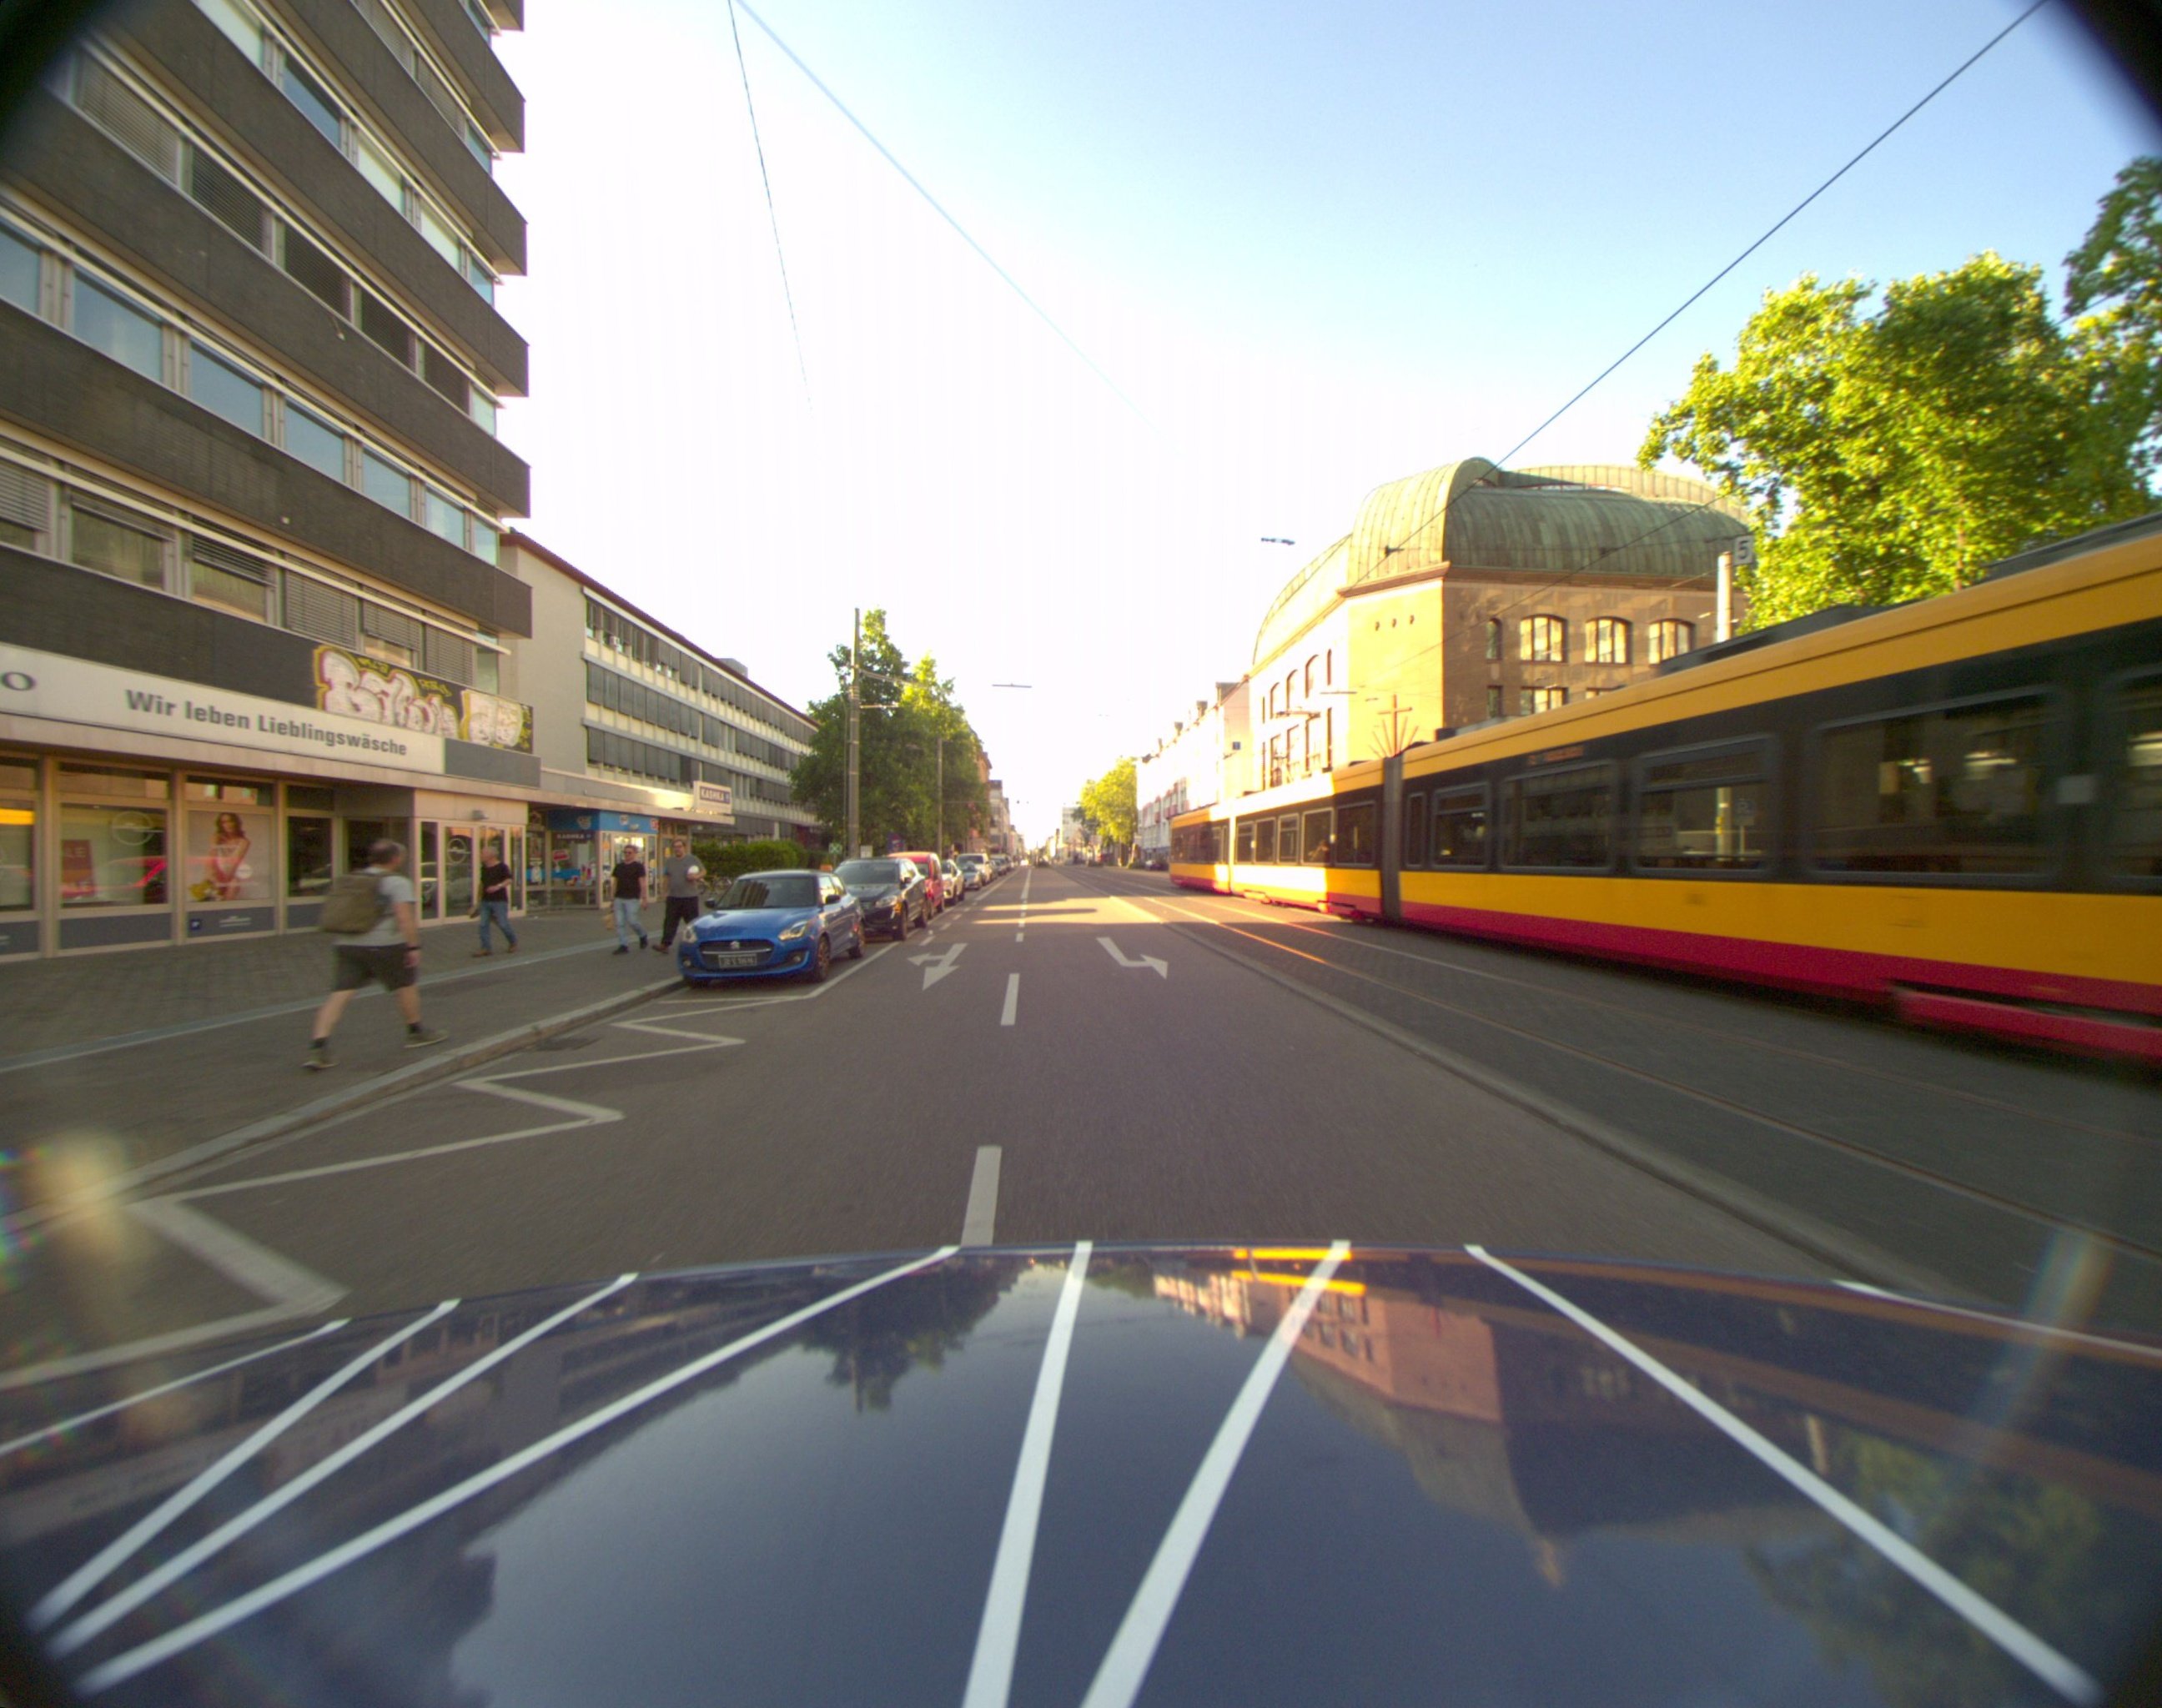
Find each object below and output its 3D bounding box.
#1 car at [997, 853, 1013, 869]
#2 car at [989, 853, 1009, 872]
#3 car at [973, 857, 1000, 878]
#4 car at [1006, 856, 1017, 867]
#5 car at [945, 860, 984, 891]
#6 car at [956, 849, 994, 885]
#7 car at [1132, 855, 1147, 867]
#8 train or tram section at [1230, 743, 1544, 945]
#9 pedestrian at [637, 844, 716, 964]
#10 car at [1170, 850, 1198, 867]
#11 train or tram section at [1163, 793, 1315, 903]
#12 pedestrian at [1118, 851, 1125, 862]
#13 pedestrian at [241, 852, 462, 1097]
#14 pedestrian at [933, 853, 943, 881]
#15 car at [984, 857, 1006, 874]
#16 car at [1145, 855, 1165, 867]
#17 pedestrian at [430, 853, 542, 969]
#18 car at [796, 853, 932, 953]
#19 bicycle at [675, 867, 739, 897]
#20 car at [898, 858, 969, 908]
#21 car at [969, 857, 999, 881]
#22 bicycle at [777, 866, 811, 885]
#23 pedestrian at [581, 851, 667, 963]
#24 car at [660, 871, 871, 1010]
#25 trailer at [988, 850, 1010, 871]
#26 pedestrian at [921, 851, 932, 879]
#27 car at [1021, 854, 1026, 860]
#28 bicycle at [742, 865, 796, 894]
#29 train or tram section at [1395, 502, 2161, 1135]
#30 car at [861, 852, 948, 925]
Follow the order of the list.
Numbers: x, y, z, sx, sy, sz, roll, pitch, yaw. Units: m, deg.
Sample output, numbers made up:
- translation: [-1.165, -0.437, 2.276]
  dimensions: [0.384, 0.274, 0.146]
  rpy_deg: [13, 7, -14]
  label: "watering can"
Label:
- translation: [-9.080, 0.843, 91.120]
  dimensions: [1.697, 1.832, 4.693]
  rpy_deg: [-1, 0, -4]
  label: "car"
- translation: [-8.071, 0.835, 75.458]
  dimensions: [1.784, 1.735, 4.473]
  rpy_deg: [-1, 0, -4]
  label: "car"
- translation: [-6.982, 0.996, 56.682]
  dimensions: [1.597, 1.485, 3.901]
  rpy_deg: [-1, 0, -2]
  label: "car"
- translation: [-9.374, 1.035, 102.942]
  dimensions: [1.420, 1.425, 3.871]
  rpy_deg: [-1, 0, -4]
  label: "car"
- translation: [-5.946, 1.069, 39.272]
  dimensions: [1.679, 1.396, 4.165]
  rpy_deg: [-2, 1, -5]
  label: "car"
- translation: [-6.349, 0.757, 45.983]
  dimensions: [1.882, 2.009, 4.903]
  rpy_deg: [-1, 0, -3]
  label: "car"
- translation: [8.875, 0.993, 115.202]
  dimensions: [1.931, 1.787, 4.383]
  rpy_deg: [0, 0, 0]
  label: "car"
- translation: [6.485, -0.190, 18.913]
  dimensions: [2.683, 3.530, 11.122]
  rpy_deg: [0, 0, -4]
  label: "train or tram section"
- translation: [-6.630, 0.786, 12.506]
  dimensions: [0.796, 1.888, 1.032]
  rpy_deg: [0, 0, -4]
  label: "pedestrian"
- translation: [10.850, 0.421, 80.252]
  dimensions: [1.965, 1.690, 4.558]
  rpy_deg: [-1, 0, -5]
  label: "car"
- translation: [5.764, -0.228, 30.703]
  dimensions: [2.766, 3.530, 12.462]
  rpy_deg: [0, 0, -4]
  label: "train or tram section"
- translation: [6.987, 0.456, 131.986]
  dimensions: [1.096, 1.768, 1.253]
  rpy_deg: [1, 0, 1]
  label: "pedestrian"
- translation: [-5.525, 0.850, 5.833]
  dimensions: [0.789, 1.727, 0.945]
  rpy_deg: [0, 0, -4]
  label: "pedestrian"
- translation: [-8.839, 0.822, 46.849]
  dimensions: [0.494, 1.703, 0.437]
  rpy_deg: [2, 0, -4]
  label: "pedestrian"
- translation: [-7.822, 1.027, 69.389]
  dimensions: [1.784, 1.420, 4.211]
  rpy_deg: [-1, 0, -4]
  label: "car"
- translation: [9.676, 0.902, 99.405]
  dimensions: [1.829, 1.500, 4.559]
  rpy_deg: [-1, 0, -3]
  label: "car"
- translation: [-9.260, 0.851, 11.869]
  dimensions: [0.903, 1.703, 1.032]
  rpy_deg: [2, 0, -4]
  label: "pedestrian"
- translation: [-4.396, 0.890, 16.116]
  dimensions: [1.825, 1.747, 4.473]
  rpy_deg: [-1, 1, -4]
  label: "car"
- translation: [-13.928, 1.039, 28.319]
  dimensions: [2.021, 1.089, 0.637]
  rpy_deg: [1, 0, -10]
  label: "bicycle"
- translation: [-5.154, 0.968, 27.088]
  dimensions: [1.792, 1.586, 4.325]
  rpy_deg: [-2, 0, -2]
  label: "car"
- translation: [-6.614, 1.011, 52.045]
  dimensions: [1.688, 1.483, 3.910]
  rpy_deg: [-2, 0, -3]
  label: "car"
- translation: [-15.205, 1.112, 40.227]
  dimensions: [1.623, 0.954, 0.367]
  rpy_deg: [0, 1, -33]
  label: "bicycle"
- translation: [-7.458, 0.836, 12.448]
  dimensions: [0.813, 1.746, 1.032]
  rpy_deg: [0, 0, -4]
  label: "pedestrian"
- translation: [-4.239, 1.059, 10.869]
  dimensions: [1.642, 1.484, 3.793]
  rpy_deg: [-2, 0, -5]
  label: "car"
- translation: [-8.656, 0.635, 80.287]
  dimensions: [1.784, 2.136, 5.314]
  rpy_deg: [-1, 0, -1]
  label: "trailer"
- translation: [-9.527, 0.695, 46.855]
  dimensions: [0.494, 1.703, 0.437]
  rpy_deg: [2, 0, -4]
  label: "pedestrian"
- translation: [-15.700, 0.737, 206.660]
  dimensions: [1.420, 1.612, 3.625]
  rpy_deg: [-1, 0, -4]
  label: "car"
- translation: [-12.128, 0.982, 29.553]
  dimensions: [1.887, 1.090, 0.469]
  rpy_deg: [0, 1, -5]
  label: "bicycle"
- translation: [7.206, -0.203, 6.863]
  dimensions: [2.683, 3.530, 12.836]
  rpy_deg: [0, 0, -4]
  label: "train or tram section"
- translation: [-4.760, 0.857, 21.050]
  dimensions: [1.680, 1.797, 4.247]
  rpy_deg: [-1, 0, -4]
  label: "car"
